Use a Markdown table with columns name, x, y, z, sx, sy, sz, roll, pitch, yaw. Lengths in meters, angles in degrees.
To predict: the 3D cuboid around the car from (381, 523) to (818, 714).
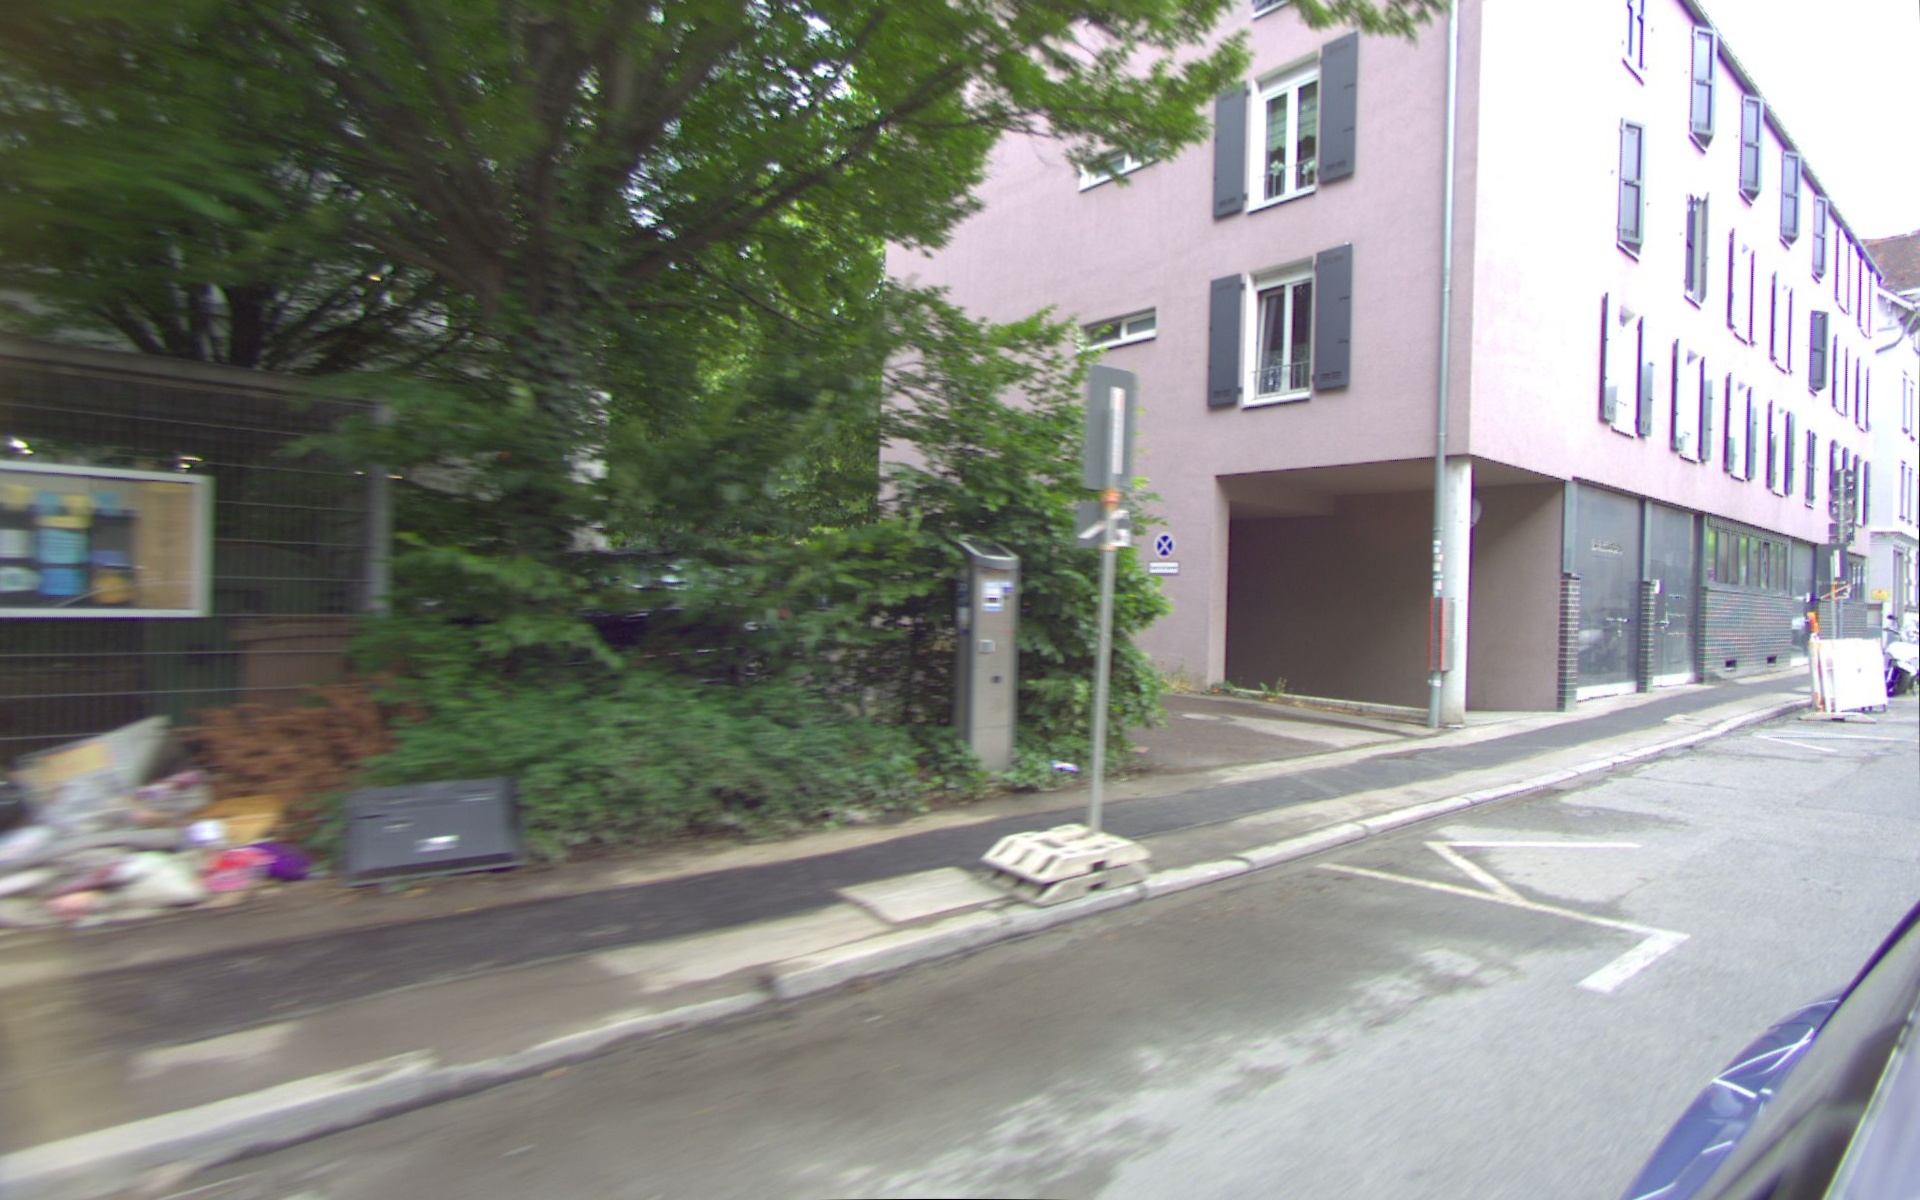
| name | x | y | z | sx | sy | sz | roll | pitch | yaw |
| --- | --- | --- | --- | --- | --- | --- | --- | --- | --- |
| car | -3.604 | 0.156 | 10.582 | 3.934 | 1.604 | 1.637 | 2 | 2 | -45 |

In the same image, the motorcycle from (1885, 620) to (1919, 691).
| name | x | y | z | sx | sy | sz | roll | pitch | yaw |
| --- | --- | --- | --- | --- | --- | --- | --- | --- | --- |
| motorcycle | 17.802 | 1.002 | 18.801 | 2.296 | 1.242 | 0.648 | 0 | 0 | -41 |
